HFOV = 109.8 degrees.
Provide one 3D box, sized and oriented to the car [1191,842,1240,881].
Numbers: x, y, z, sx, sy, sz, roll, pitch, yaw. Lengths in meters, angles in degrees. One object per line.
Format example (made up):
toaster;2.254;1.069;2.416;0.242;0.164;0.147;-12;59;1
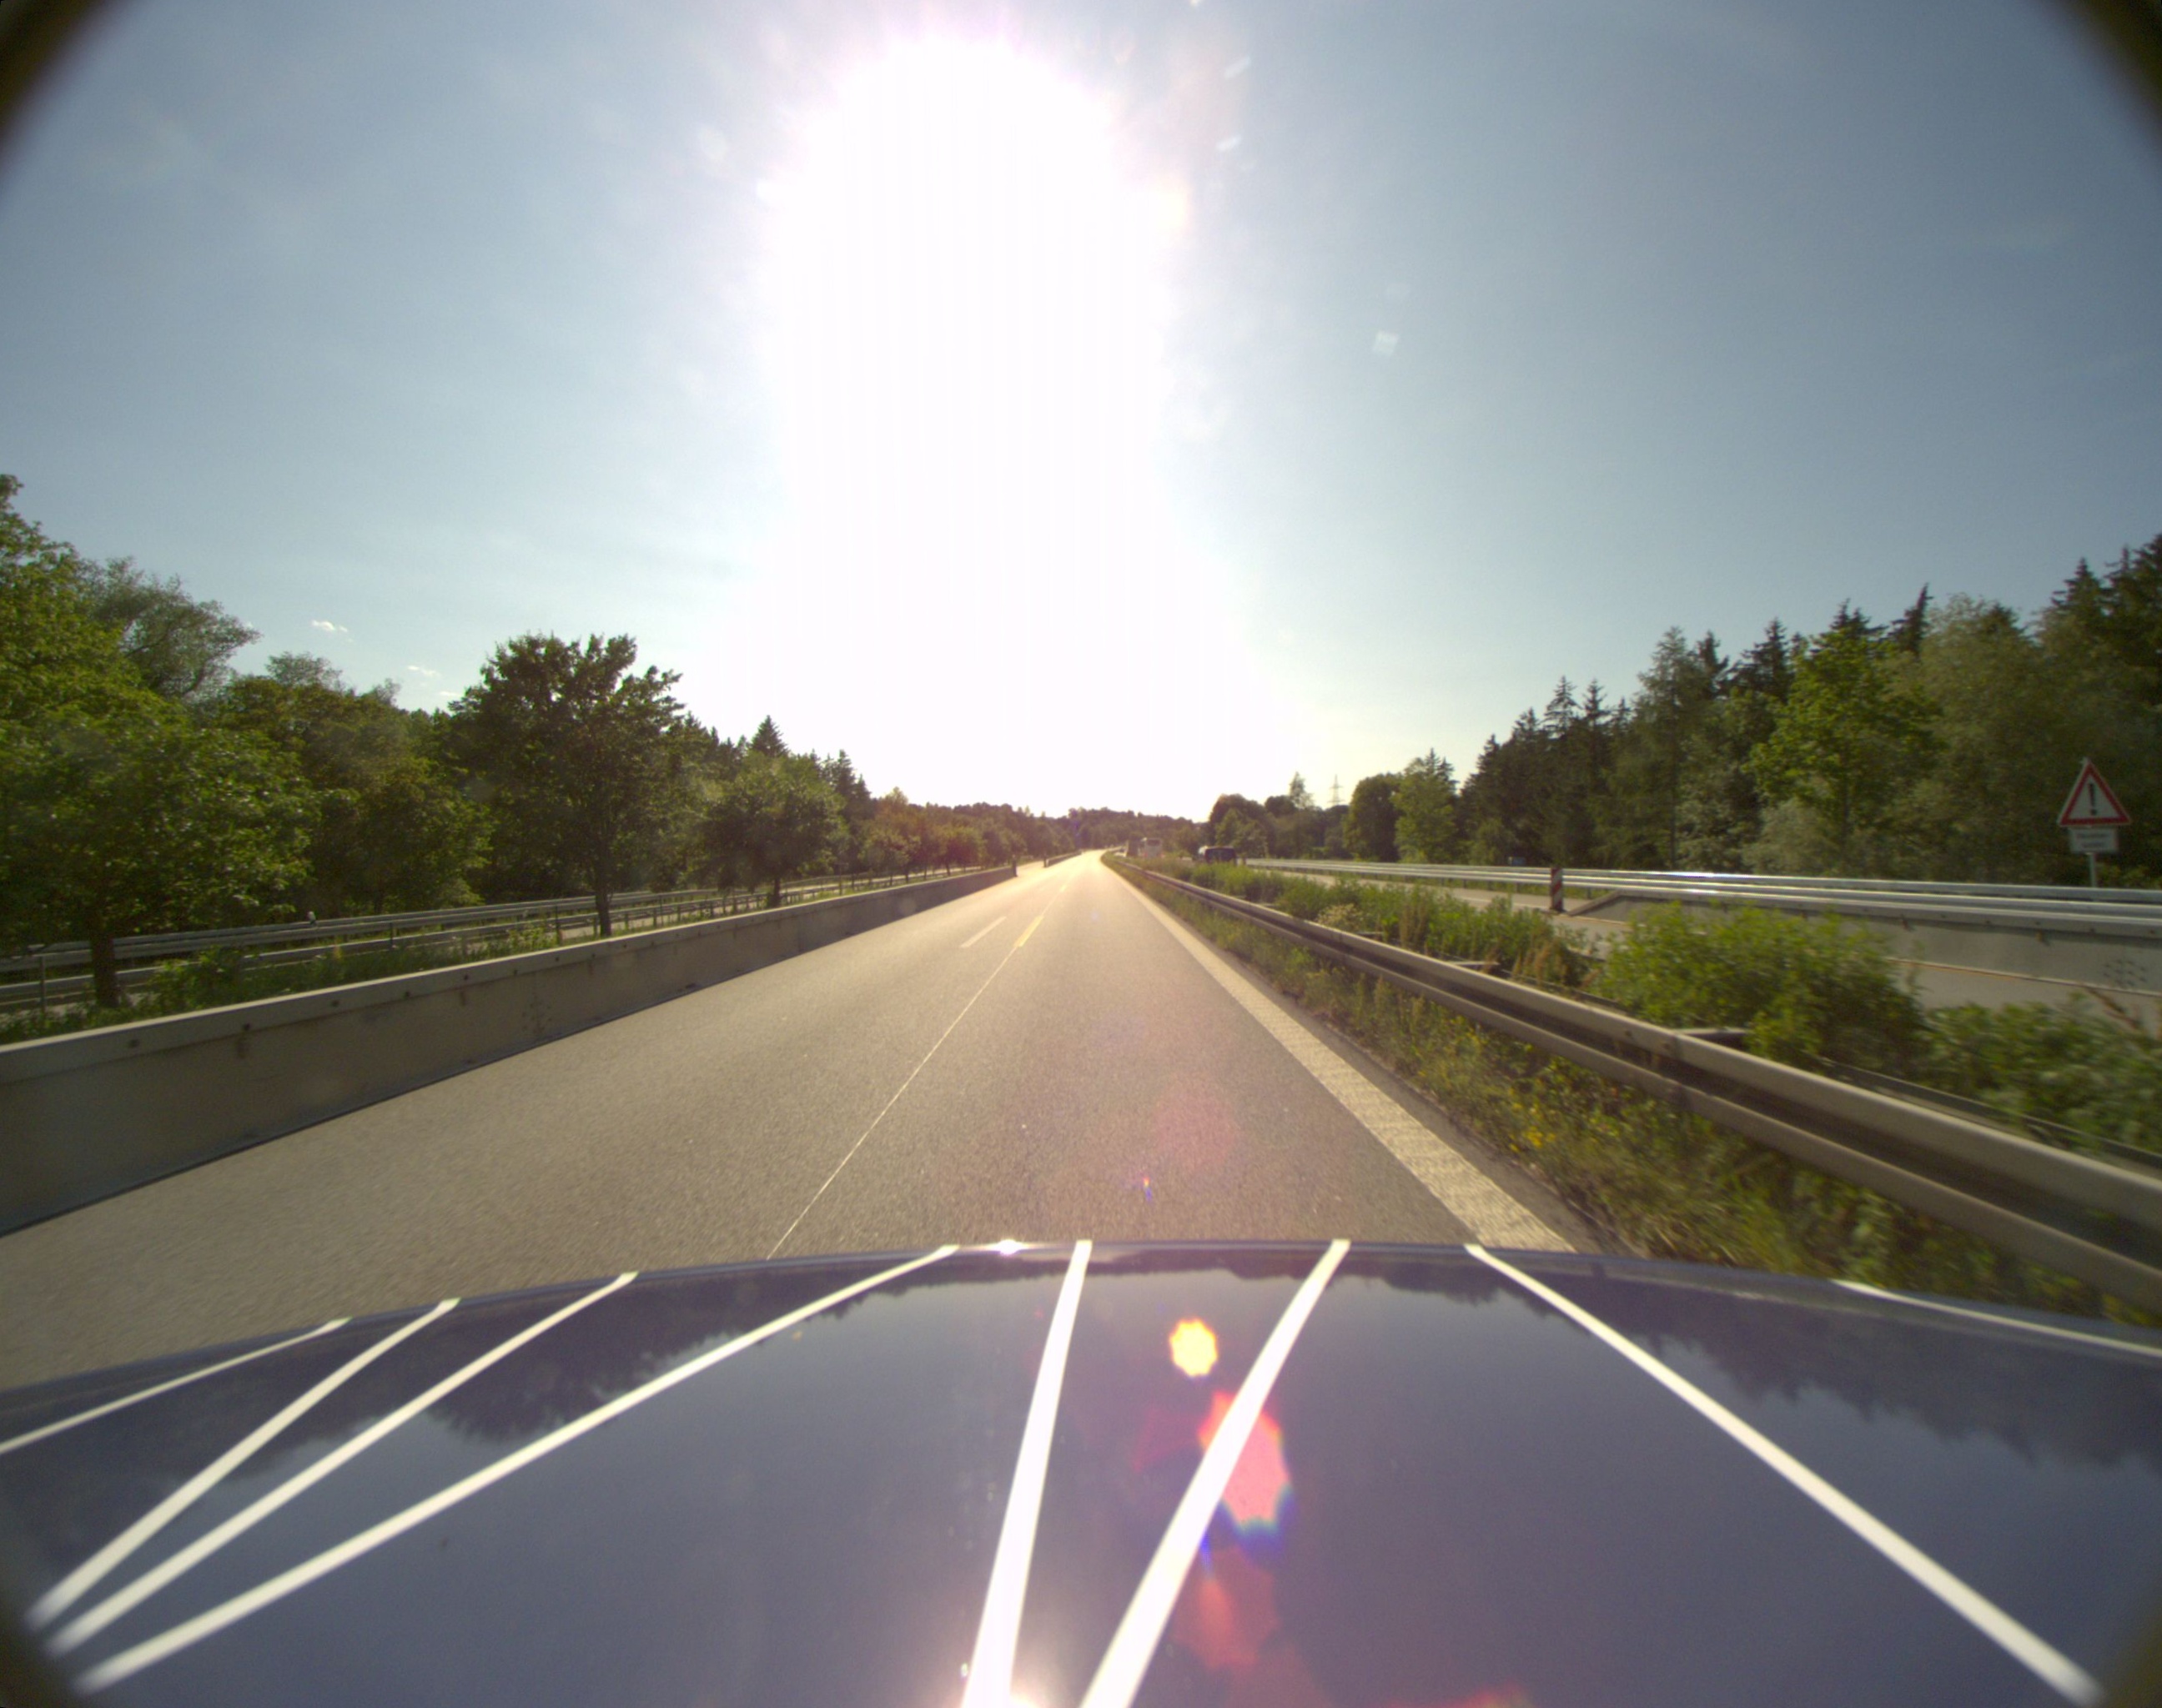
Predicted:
car;7.400;0.372;42.380;1.878;1.962;5.577;-3;0;2

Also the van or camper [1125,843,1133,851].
van or camper;16.267;-2.379;257.283;2.411;2.933;7.522;0;1;2

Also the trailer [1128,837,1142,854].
trailer;13.174;-2.031;187.199;2.748;4.047;13.995;1;1;1

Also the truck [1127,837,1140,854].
truck;13.303;-2.166;193.185;2.777;4.064;5.475;1;1;1

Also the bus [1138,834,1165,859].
bus;10.665;-1.112;115.852;2.889;3.649;12.916;-1;0;0
